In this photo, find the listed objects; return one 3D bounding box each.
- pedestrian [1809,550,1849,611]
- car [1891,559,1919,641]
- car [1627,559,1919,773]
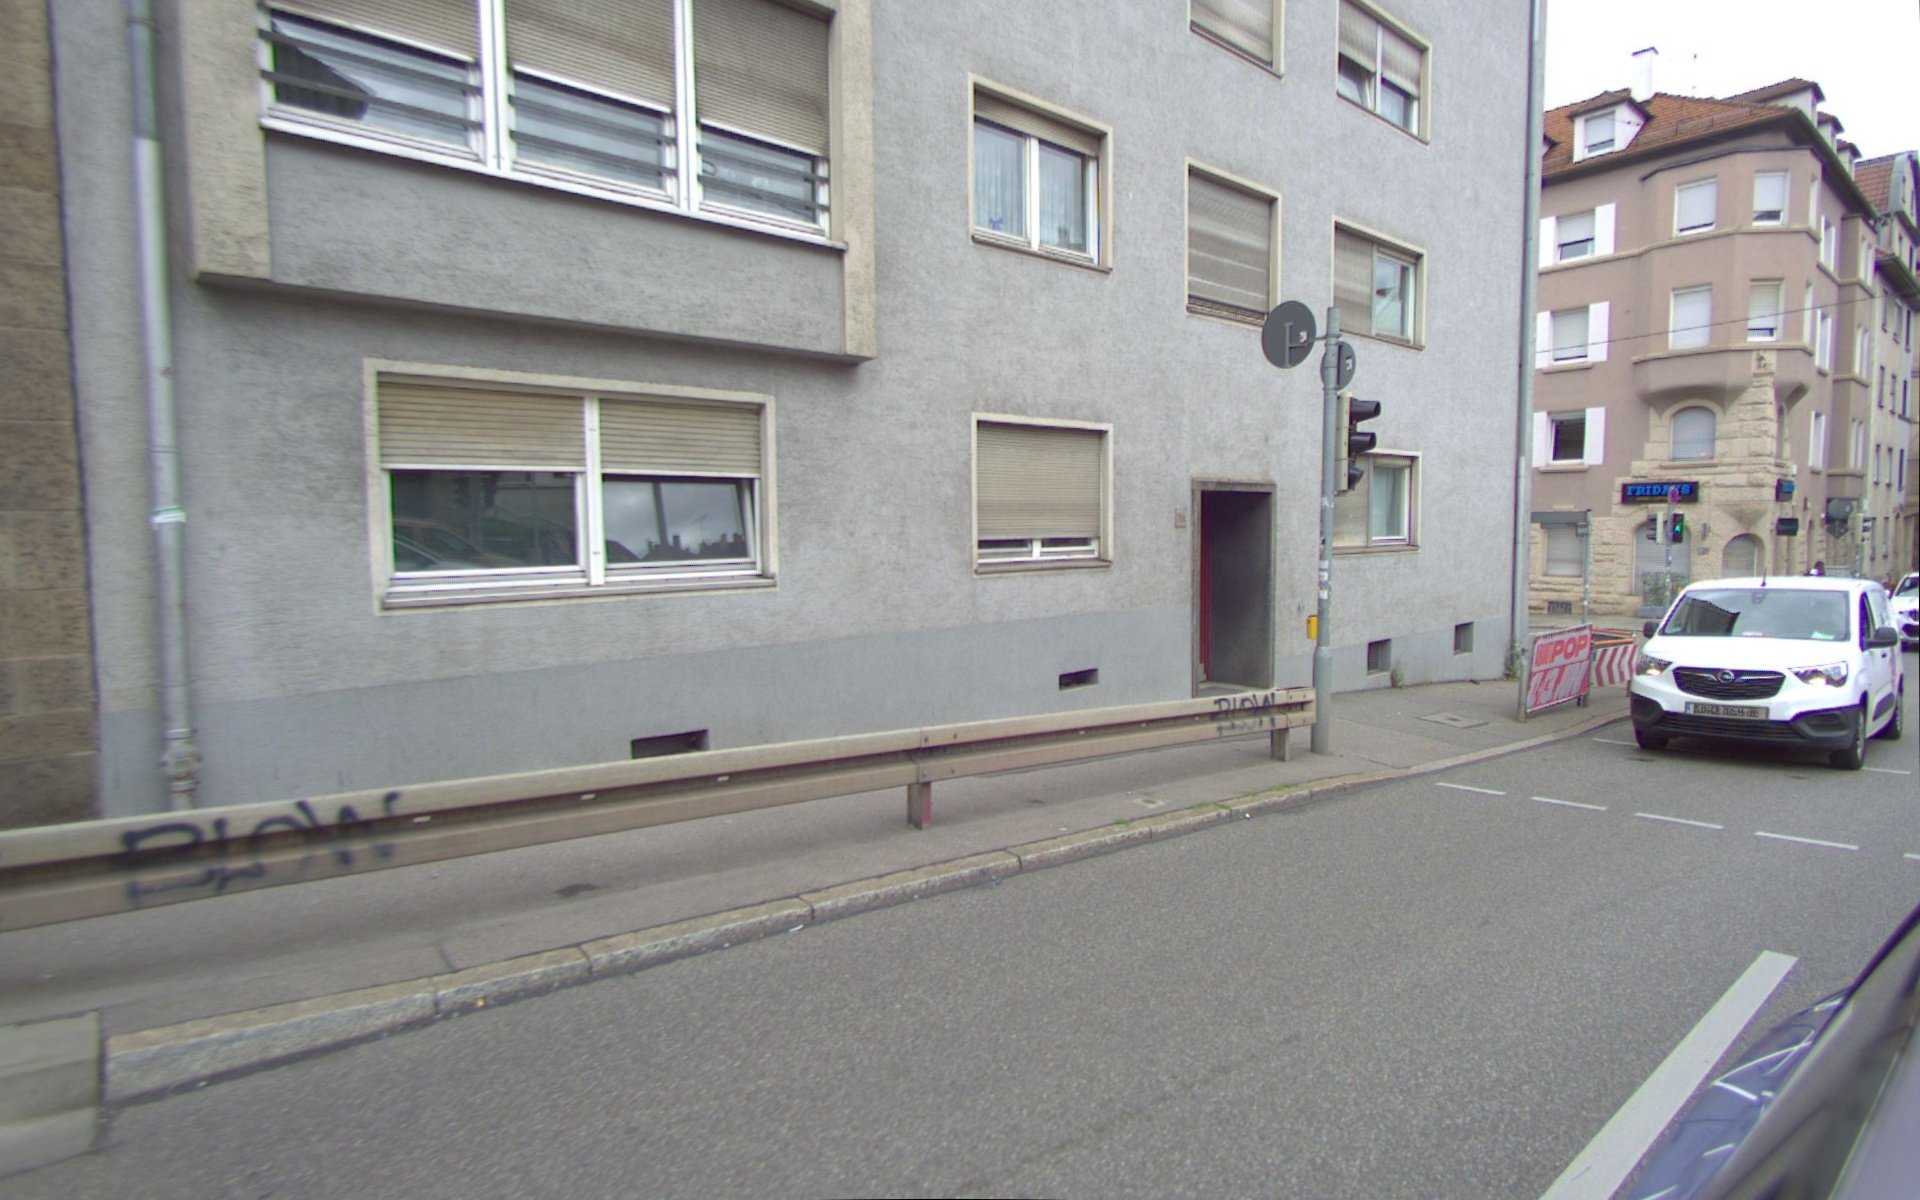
[{"bbox_3d":[24.533,-0.554,28.555,0.988,1.668,0.733,-1,2,-43],"label":"pedestrian"},{"bbox_3d":[20.898,-0.009,21.117,4.092,1.628,1.778,0,0,-42],"label":"car"},{"bbox_3d":[8.911,0.508,10.828,4.760,1.811,1.787,-1,1,-41],"label":"car"}]
